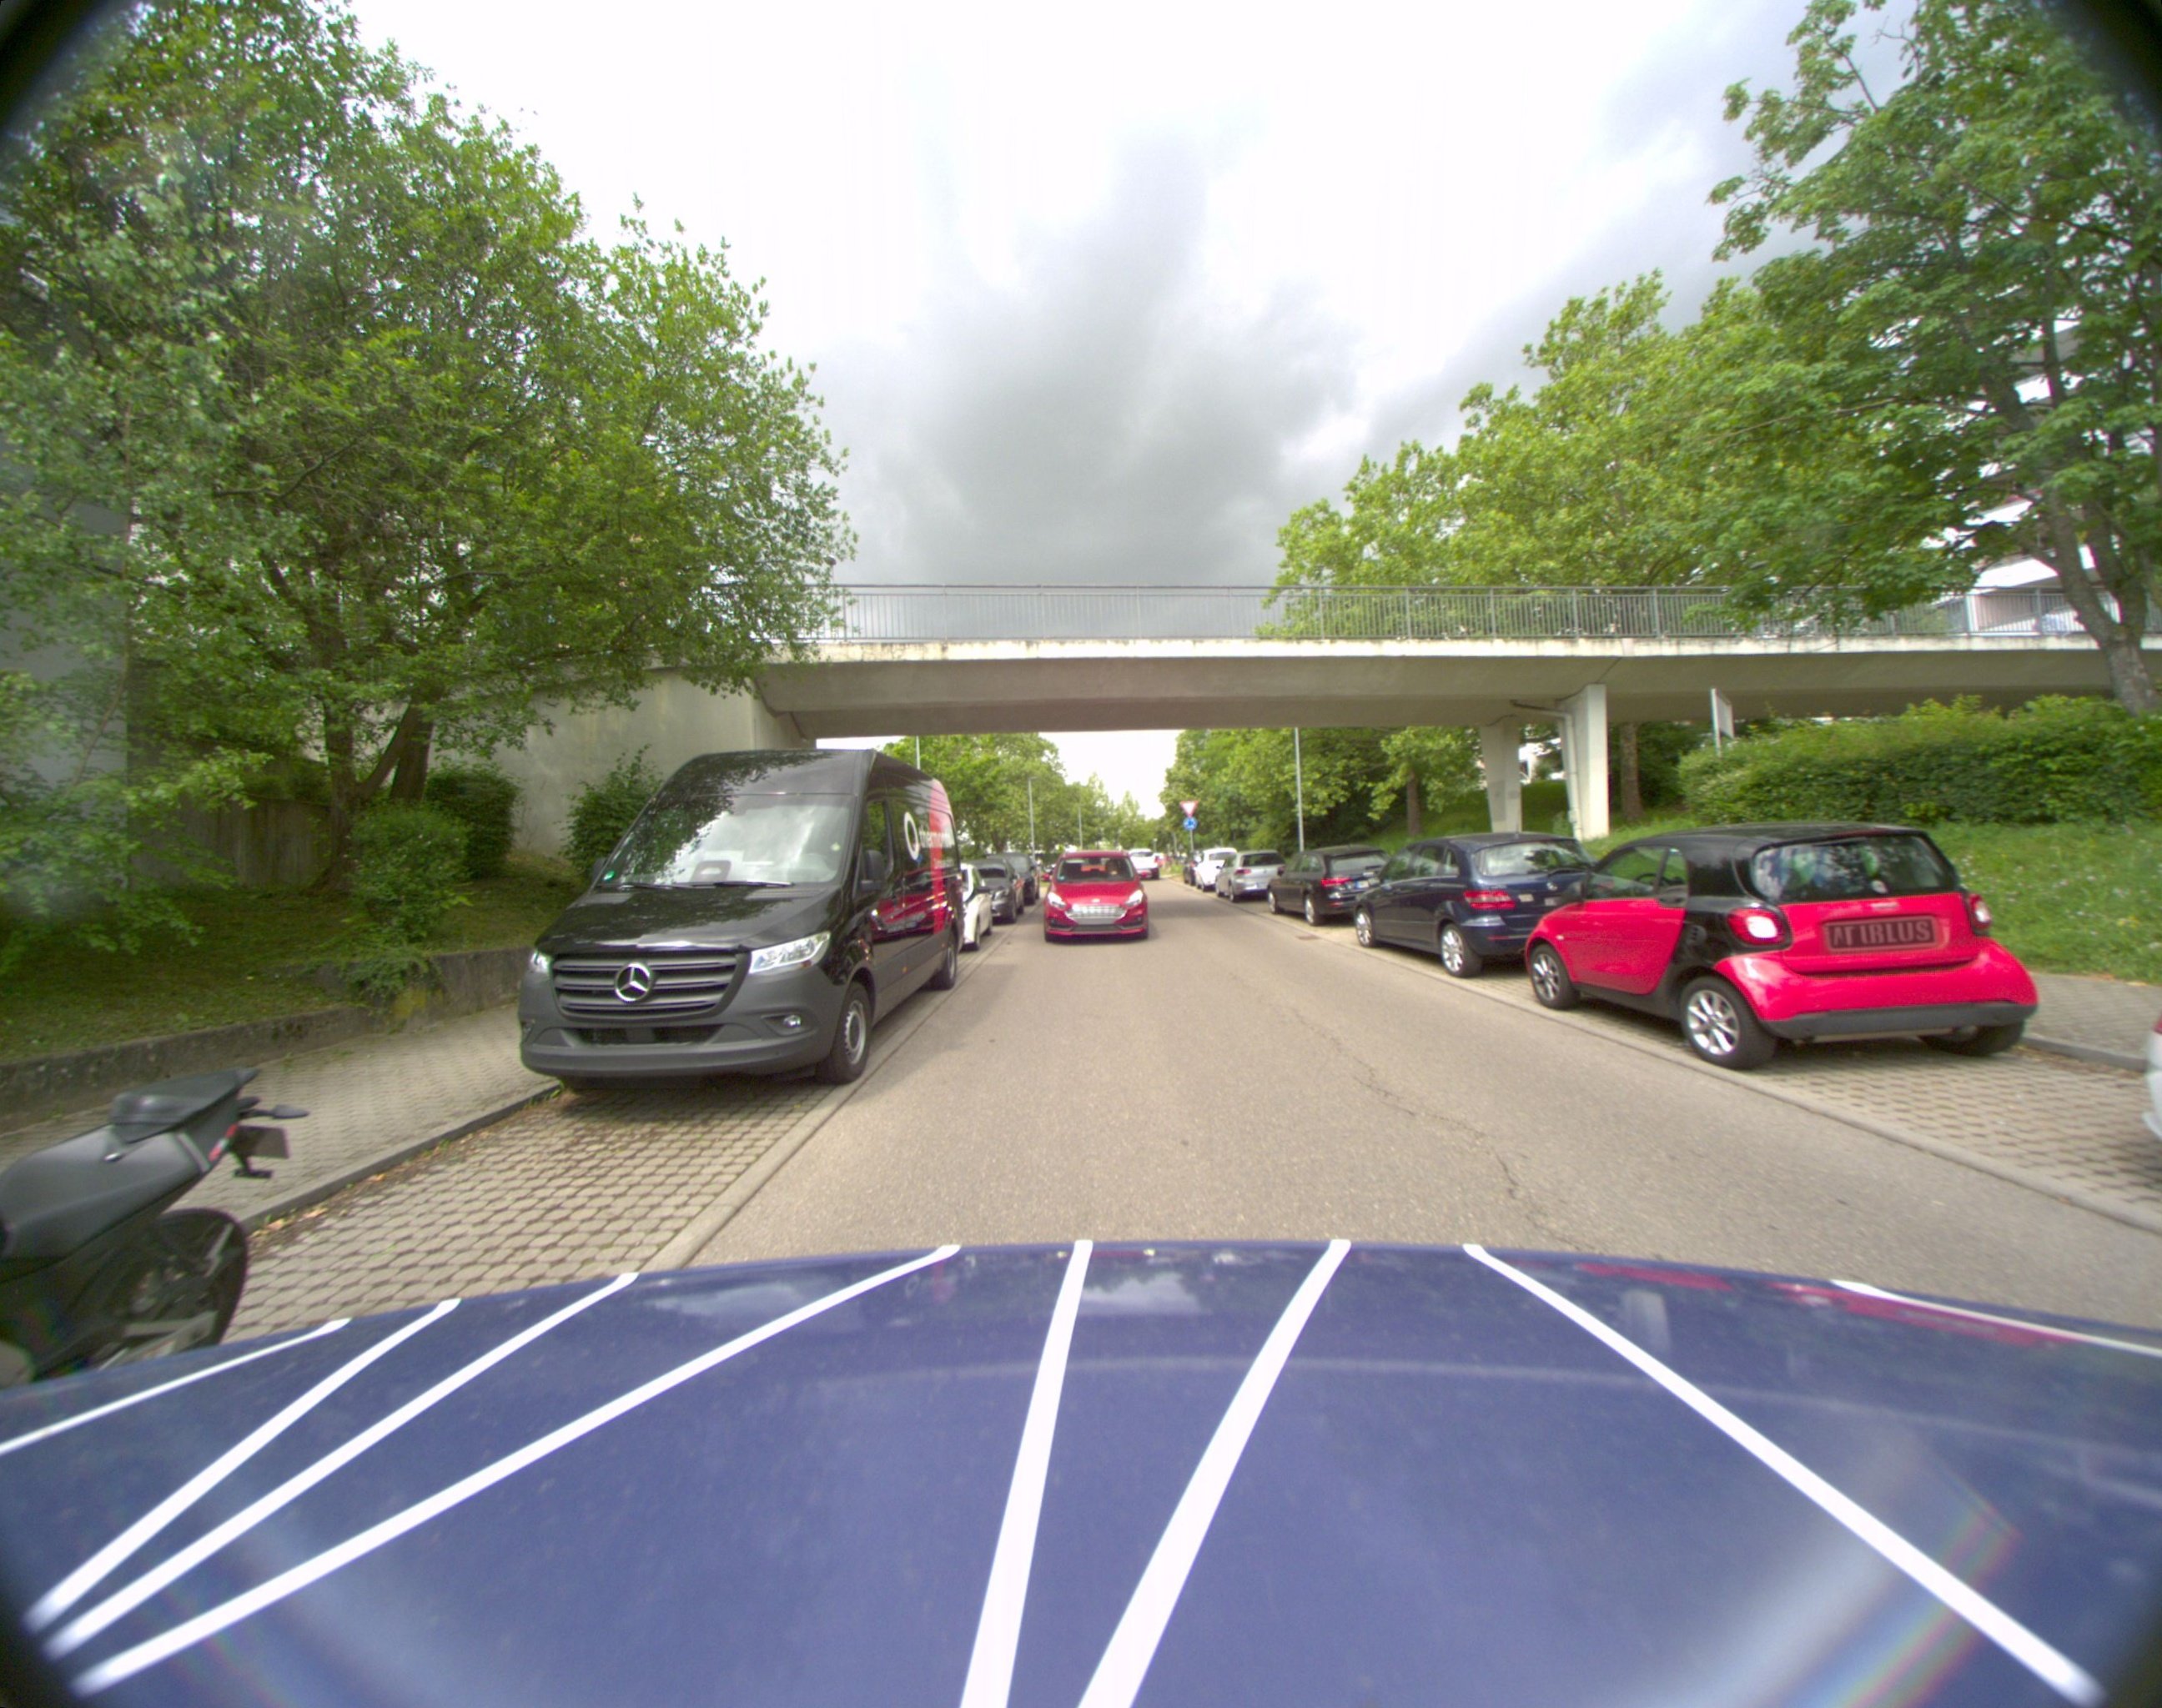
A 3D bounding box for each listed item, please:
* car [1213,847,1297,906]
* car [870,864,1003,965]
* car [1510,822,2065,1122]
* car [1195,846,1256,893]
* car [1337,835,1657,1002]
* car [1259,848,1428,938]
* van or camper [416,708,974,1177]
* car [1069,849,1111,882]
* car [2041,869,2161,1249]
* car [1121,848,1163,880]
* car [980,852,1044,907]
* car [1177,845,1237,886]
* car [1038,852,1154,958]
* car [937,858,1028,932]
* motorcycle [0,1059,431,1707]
[{"bbox_3d":[5.106,0.617,22.815,1.812,1.447,3.861,-5,1,5],"label":"car"},{"bbox_3d":[-2.445,0.970,13.730,1.586,1.441,3.722,-2,1,1],"label":"car"},{"bbox_3d":[4.808,0.668,5.704,1.598,1.576,2.685,-6,1,2],"label":"car"},{"bbox_3d":[5.275,0.523,28.171,1.812,1.561,3.723,-2,1,5],"label":"car"},{"bbox_3d":[4.952,0.654,9.802,1.813,1.575,3.985,-4,0,-1],"label":"car"},{"bbox_3d":[5.179,0.671,15.714,1.813,1.472,4.485,-4,1,-1],"label":"car"},{"bbox_3d":[-2.487,0.453,6.983,1.998,2.481,5.757,-2,1,1],"label":"van or camper"},{"bbox_3d":[0.477,0.616,37.494,1.861,1.433,4.002,-3,-2,2],"label":"car"},{"bbox_3d":[4.938,0.742,1.139,1.813,1.397,4.047,-6,1,0],"label":"car"},{"bbox_3d":[3.187,0.508,40.541,1.813,1.561,3.721,-2,1,-1],"label":"car"},{"bbox_3d":[-2.157,0.757,24.573,1.604,1.534,3.722,-2,1,1],"label":"car"},{"bbox_3d":[5.343,0.462,32.736,1.813,1.561,3.721,-4,1,-1],"label":"car"},{"bbox_3d":[0.267,0.815,14.081,1.813,1.600,3.722,-2,1,1],"label":"car"},{"bbox_3d":[-2.269,0.904,18.363,1.604,1.478,3.722,-2,1,1],"label":"car"},{"bbox_3d":[-2.259,1.201,1.407,0.710,1.061,1.928,-2,1,-12],"label":"motorcycle"}]
